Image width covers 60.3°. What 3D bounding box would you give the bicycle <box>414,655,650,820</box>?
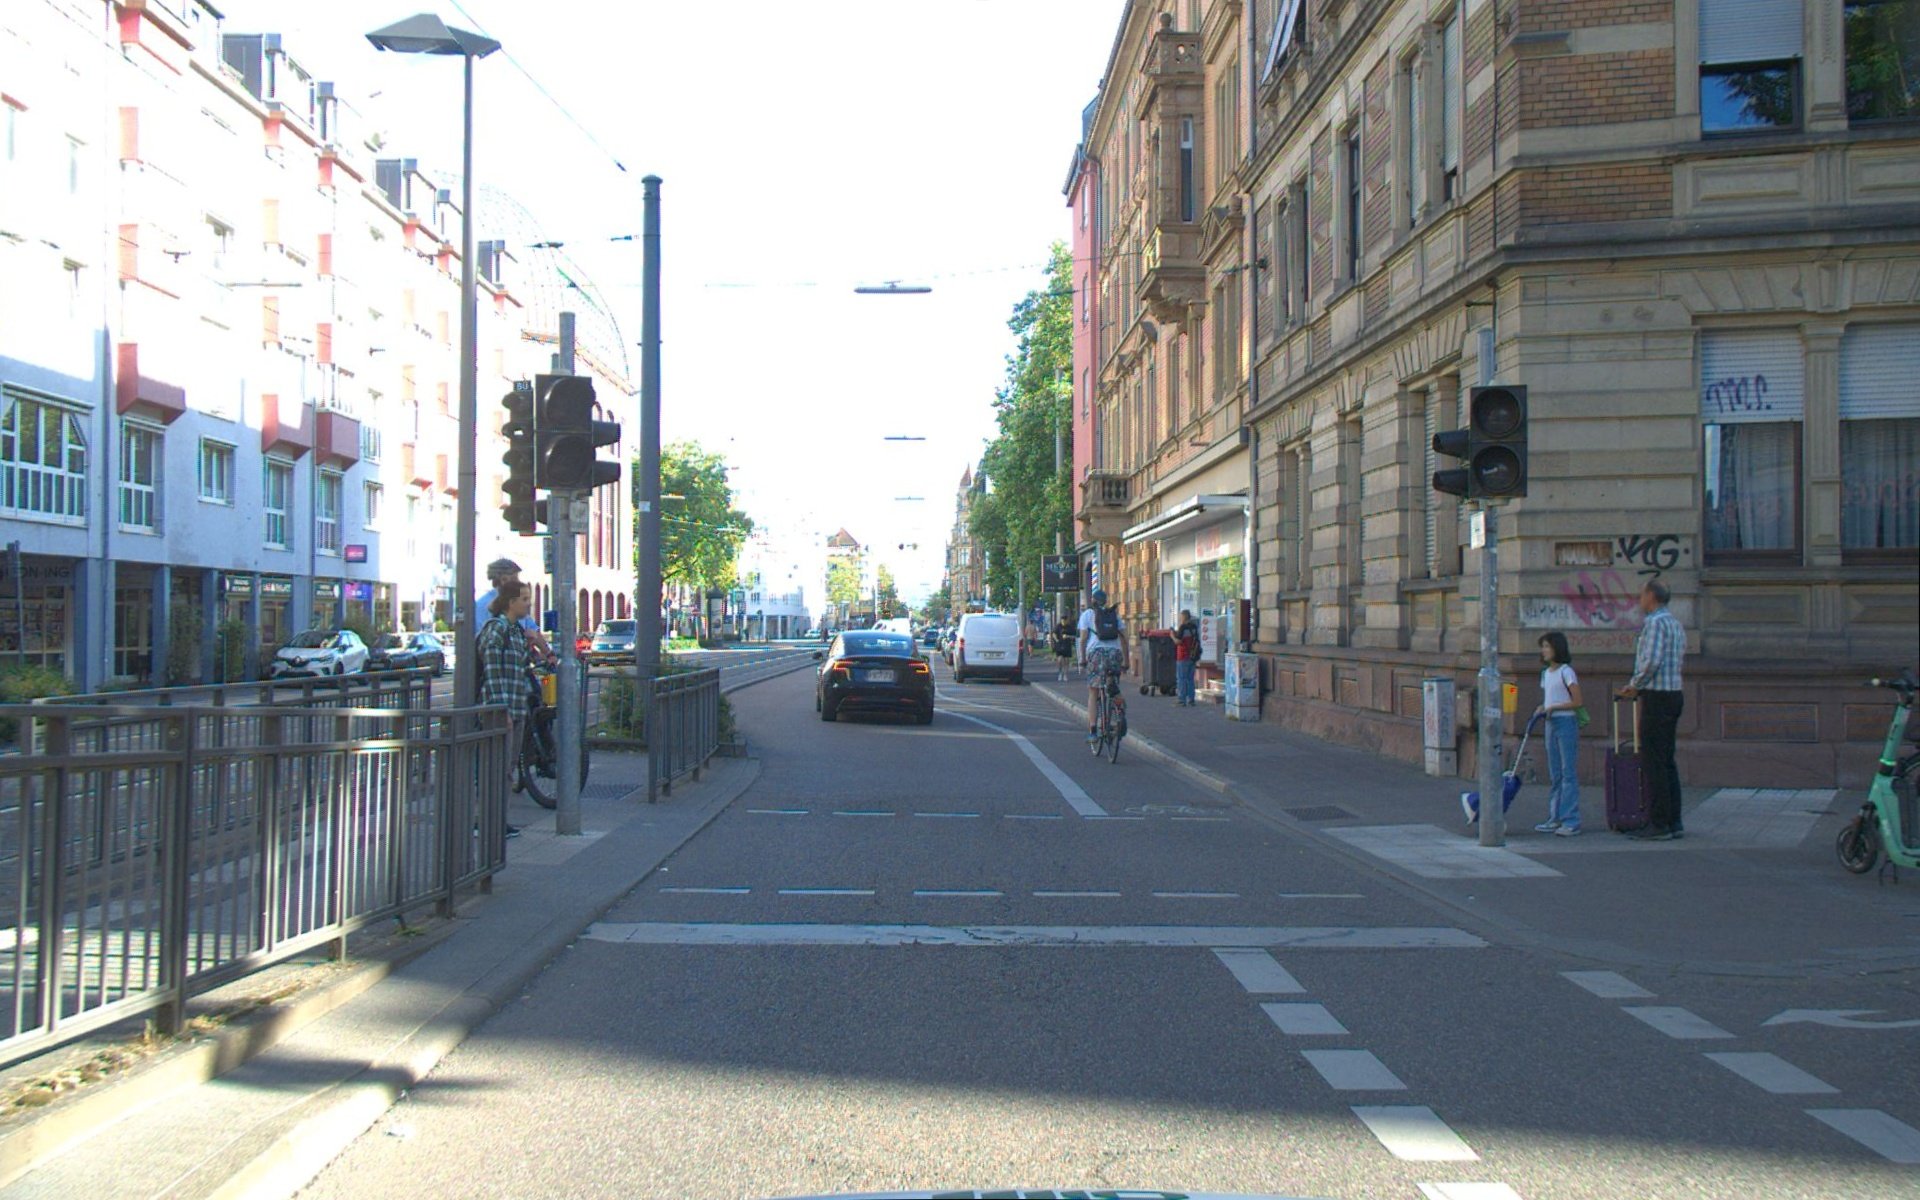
[{"bbox_3d":[-3.375,1.045,12.968,1.904,1.113,0.597,2,-2,33],"label":"bicycle"}]

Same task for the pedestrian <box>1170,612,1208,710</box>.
[{"bbox_3d":[4.167,1.092,30.065,0.461,1.759,0.586,-1,-1,35],"label":"pedestrian"}]

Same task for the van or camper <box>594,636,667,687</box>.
[{"bbox_3d":[-13.916,2.579,70.036,1.952,1.974,4.834,-2,-1,1],"label":"van or camper"}]

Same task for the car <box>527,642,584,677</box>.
[{"bbox_3d":[-18.584,2.712,76.146,1.635,1.494,4.288,2,-1,-1],"label":"car"}]

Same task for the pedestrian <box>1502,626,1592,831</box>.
[{"bbox_3d":[4.275,0.919,12.070,0.562,1.439,0.581,1,-2,16],"label":"pedestrian"}]

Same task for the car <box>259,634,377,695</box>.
[{"bbox_3d":[-18.098,1.804,46.866,1.879,1.642,4.365,0,-1,-4],"label":"car"}]

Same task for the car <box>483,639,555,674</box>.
[{"bbox_3d":[-18.744,2.386,70.532,1.921,1.348,4.818,2,-1,-2],"label":"car"}]

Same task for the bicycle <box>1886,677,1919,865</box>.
[{"bbox_3d":[6.492,1.043,9.717,0.440,1.135,1.787,1,-2,-41],"label":"bicycle"}]

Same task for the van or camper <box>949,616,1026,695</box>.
[{"bbox_3d":[0.732,1.586,47.290,1.892,2.072,5.472,2,-2,-2],"label":"van or camper"}]

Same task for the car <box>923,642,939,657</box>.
[{"bbox_3d":[-2.938,5.030,168.601,1.561,1.458,3.685,0,-2,0],"label":"car"}]

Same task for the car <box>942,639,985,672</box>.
[{"bbox_3d":[0.180,2.583,77.286,1.713,1.468,4.316,1,-1,3],"label":"car"}]

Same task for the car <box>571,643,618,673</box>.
[{"bbox_3d":[-18.899,2.994,85.636,1.625,1.447,3.618,2,-1,-1],"label":"car"}]

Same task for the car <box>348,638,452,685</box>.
[{"bbox_3d":[-18.156,1.968,53.832,1.863,1.483,4.823,0,-1,-2],"label":"car"}]

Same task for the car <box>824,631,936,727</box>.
[{"bbox_3d":[-1.299,1.254,27.302,1.685,1.430,3.708,1,-1,-2],"label":"car"}]

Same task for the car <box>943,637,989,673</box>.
[{"bbox_3d":[0.240,2.397,72.662,1.766,1.460,4.320,3,-2,-3],"label":"car"}]

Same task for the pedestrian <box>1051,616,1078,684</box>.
[{"bbox_3d":[2.864,1.377,45.315,0.659,1.846,0.755,0,-2,-2],"label":"pedestrian"}]

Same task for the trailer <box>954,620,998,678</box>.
[{"bbox_3d":[0.619,1.905,64.694,1.627,2.154,3.842,2,-2,0],"label":"trailer"}]

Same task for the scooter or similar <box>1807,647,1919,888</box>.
[{"bbox_3d":[5.463,0.929,9.201,0.384,1.312,1.515,0,-1,-17],"label":"scooter or similar"}]

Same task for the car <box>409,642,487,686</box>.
[{"bbox_3d":[-18.295,2.273,59.254,1.717,1.501,4.203,0,-1,-4],"label":"car"}]

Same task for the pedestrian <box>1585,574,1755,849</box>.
[{"bbox_3d":[4.936,0.752,11.556,0.829,1.839,0.876,0,-1,3],"label":"pedestrian"}]

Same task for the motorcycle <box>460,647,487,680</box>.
[{"bbox_3d":[-19.916,2.584,67.780,0.508,1.320,2.081,2,-1,-2],"label":"motorcycle"}]

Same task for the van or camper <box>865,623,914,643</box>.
[{"bbox_3d":[-9.390,4.372,219.955,6.822,2.701,2.113,1,-2,-42],"label":"van or camper"}]

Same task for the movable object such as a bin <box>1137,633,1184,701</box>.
[{"bbox_3d":[4.163,1.388,34.458,0.760,1.371,1.298,0,-2,-3],"label":"movable object such as a bin"}]

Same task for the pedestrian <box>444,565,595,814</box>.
[{"bbox_3d":[-3.419,0.676,12.874,0.582,1.853,0.940,1,-2,31],"label":"pedestrian"}]

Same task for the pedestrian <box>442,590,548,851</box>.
[{"bbox_3d":[-3.006,0.766,10.740,0.508,1.618,0.665,4,-2,-11],"label":"pedestrian"}]

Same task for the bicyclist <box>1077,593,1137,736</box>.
[{"bbox_3d":[1.771,0.776,20.056,0.641,1.685,0.927,1,-2,0],"label":"bicyclist"}]

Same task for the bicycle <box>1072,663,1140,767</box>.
[{"bbox_3d":[1.749,1.360,20.077,0.634,1.159,2.095,1,-2,0],"label":"bicycle"}]
